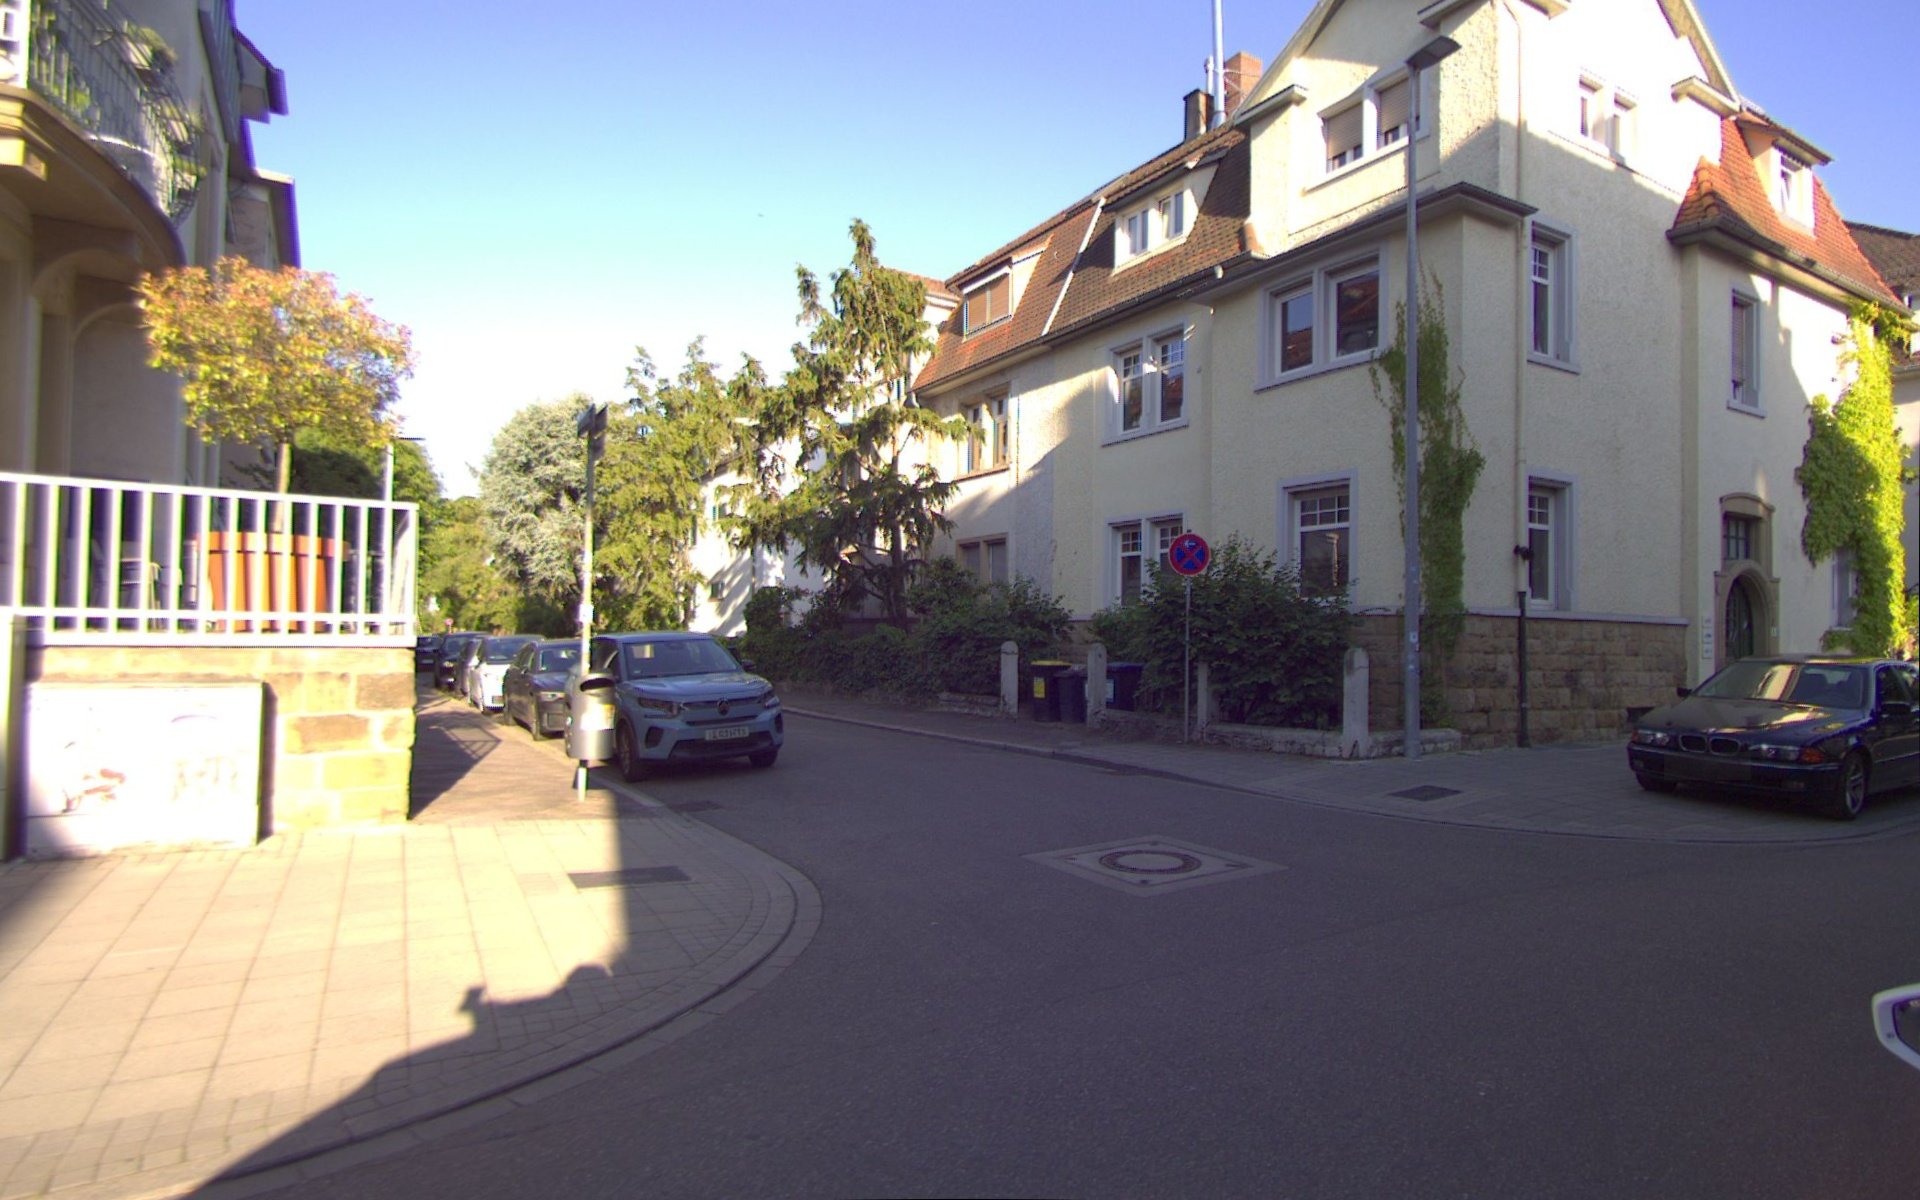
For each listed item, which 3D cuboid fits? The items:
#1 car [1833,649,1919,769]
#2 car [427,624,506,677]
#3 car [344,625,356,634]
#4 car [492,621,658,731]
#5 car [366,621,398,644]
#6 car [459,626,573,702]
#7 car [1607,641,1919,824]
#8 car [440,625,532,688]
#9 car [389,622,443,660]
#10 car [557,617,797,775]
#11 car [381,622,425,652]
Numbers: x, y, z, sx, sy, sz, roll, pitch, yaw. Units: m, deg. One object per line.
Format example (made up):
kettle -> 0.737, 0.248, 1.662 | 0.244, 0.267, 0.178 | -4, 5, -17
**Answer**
car -> 13.502, 1.421, 13.375 | 4.120, 1.434, 1.645 | 2, -1, -31
car -> -14.734, 1.451, 29.895 | 1.664, 1.448, 3.923 | 0, -1, -33
car -> -103.500, 4.999, 170.522 | 1.664, 1.448, 3.923 | 0, -1, -33
car -> -6.573, 1.141, 16.858 | 1.742, 1.580, 4.450 | 0, -1, -33
car -> -39.282, 2.189, 68.241 | 1.664, 1.448, 3.923 | 0, -1, -33
car -> -9.624, 1.296, 21.623 | 1.664, 1.448, 3.923 | 0, -1, -33
car -> 8.839, 1.236, 10.517 | 4.582, 1.489, 1.700 | 2, -1, -32
car -> -12.186, 1.370, 25.709 | 1.664, 1.448, 3.923 | 0, -1, -33
car -> -22.566, 1.659, 41.612 | 1.664, 1.448, 3.923 | 0, -1, -33
car -> -3.552, 1.000, 12.144 | 1.743, 1.580, 3.739 | 0, -1, -34
car -> -27.853, 1.824, 50.193 | 1.664, 1.448, 3.923 | 0, -1, -33
